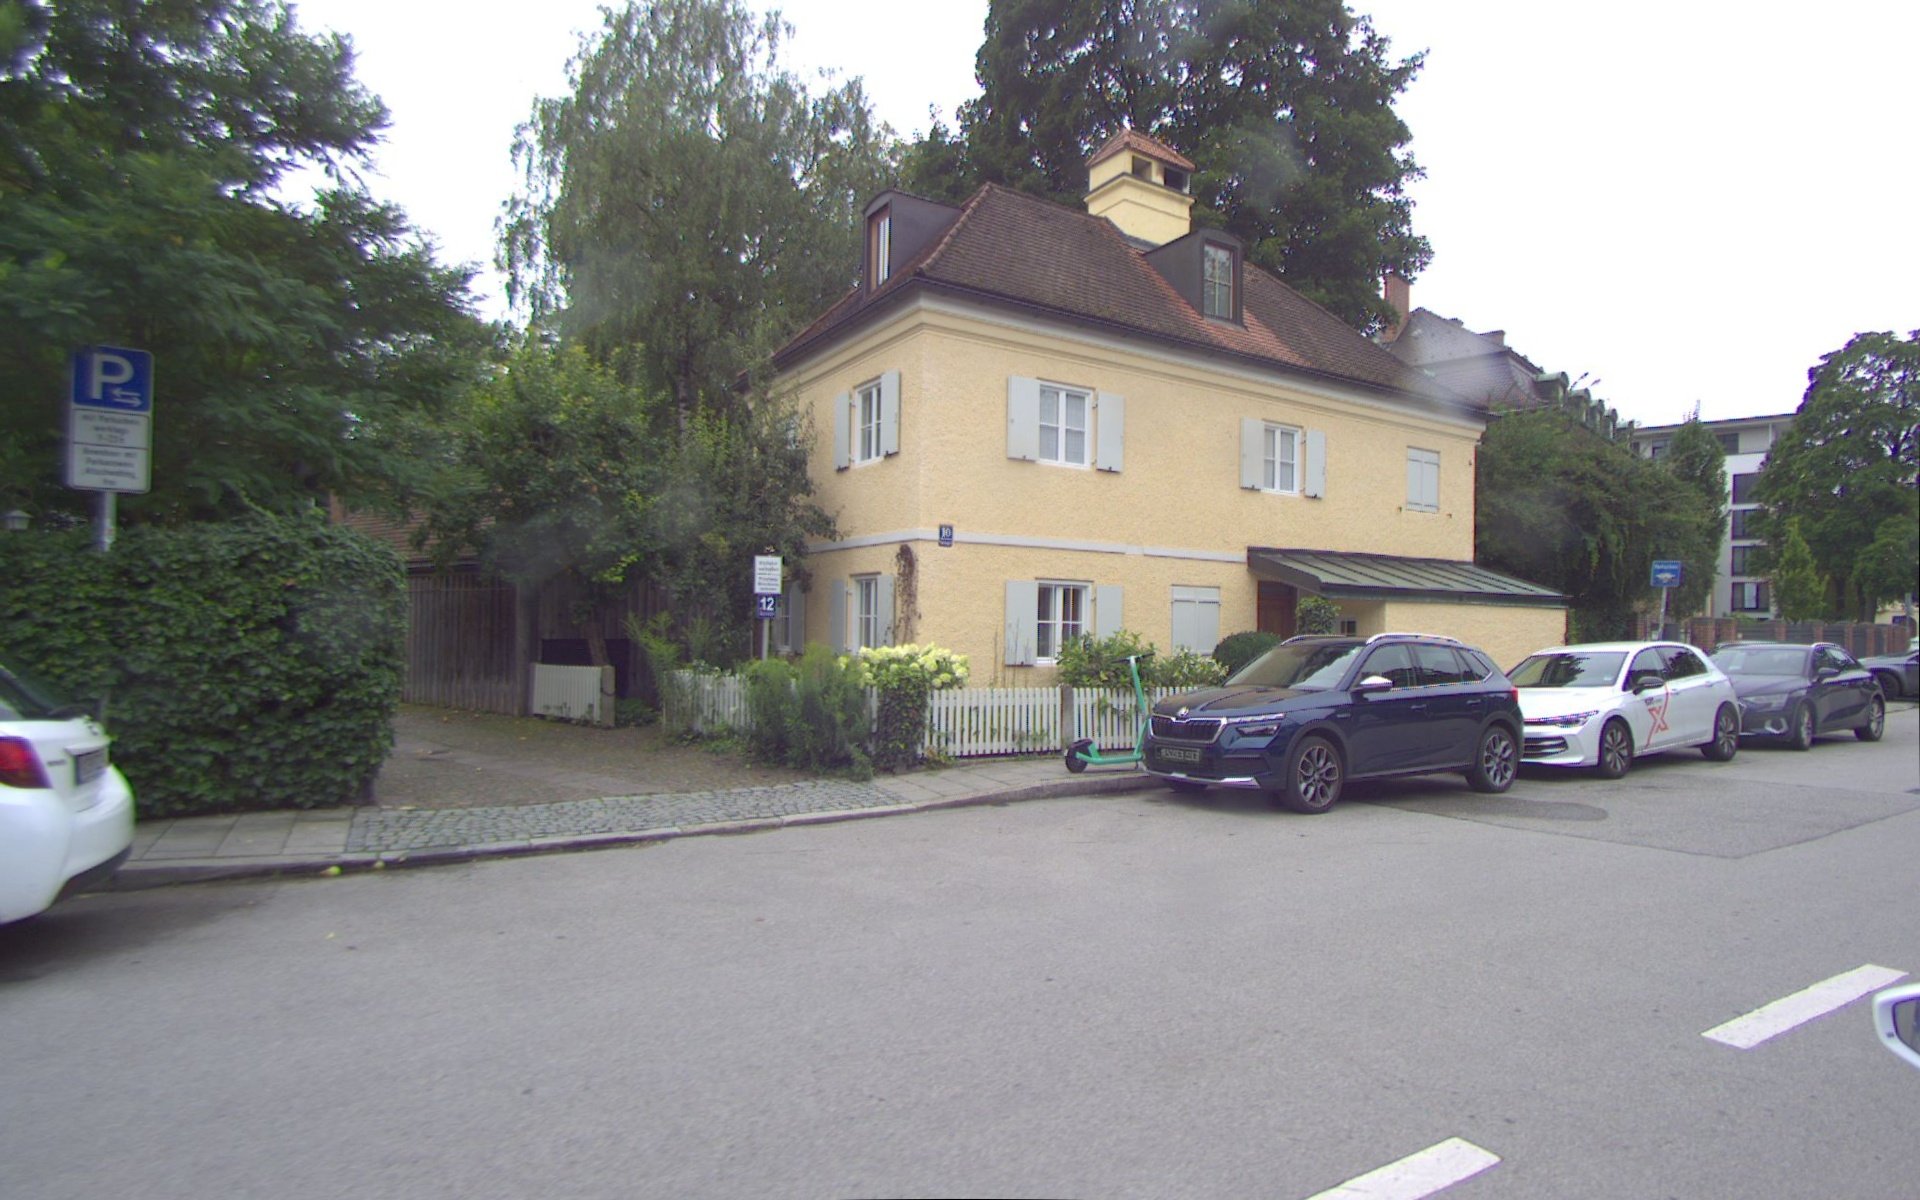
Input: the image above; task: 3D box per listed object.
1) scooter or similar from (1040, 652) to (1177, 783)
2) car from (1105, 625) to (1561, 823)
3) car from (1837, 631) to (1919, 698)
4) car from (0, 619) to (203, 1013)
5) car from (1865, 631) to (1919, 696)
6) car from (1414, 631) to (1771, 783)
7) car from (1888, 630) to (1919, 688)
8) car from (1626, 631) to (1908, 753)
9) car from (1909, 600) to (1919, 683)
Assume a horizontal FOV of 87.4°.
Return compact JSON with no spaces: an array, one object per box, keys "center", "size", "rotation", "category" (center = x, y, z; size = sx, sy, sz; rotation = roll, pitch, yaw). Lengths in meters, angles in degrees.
[{"center":[1.492,1.137,10.023],"size":[1.355,1.204,0.450],"rotation":[1,0,-30],"category":"scooter or similar"},{"center":[3.724,1.094,9.843],"size":[4.390,1.555,1.837],"rotation":[2,-4,-31],"category":"car"},{"center":[23.471,1.528,23.525],"size":[1.921,1.550,4.289],"rotation":[3,-3,-44],"category":"car"},{"center":[-5.685,0.883,3.891],"size":[4.179,1.555,1.770],"rotation":[1,-4,-31],"category":"car"},{"center":[25.789,1.563,24.975],"size":[4.443,1.614,1.964],"rotation":[-2,-3,26],"category":"car"},{"center":[7.806,1.195,12.300],"size":[4.469,1.555,1.837],"rotation":[1,-4,-31],"category":"car"},{"center":[29.588,1.679,28.433],"size":[4.443,1.646,1.966],"rotation":[-2,-4,26],"category":"car"},{"center":[11.962,1.268,14.822],"size":[4.511,1.555,1.836],"rotation":[1,-4,-32],"category":"car"},{"center":[32.024,1.248,30.184],"size":[4.551,2.597,2.232],"rotation":[-2,-2,26],"category":"car"}]
